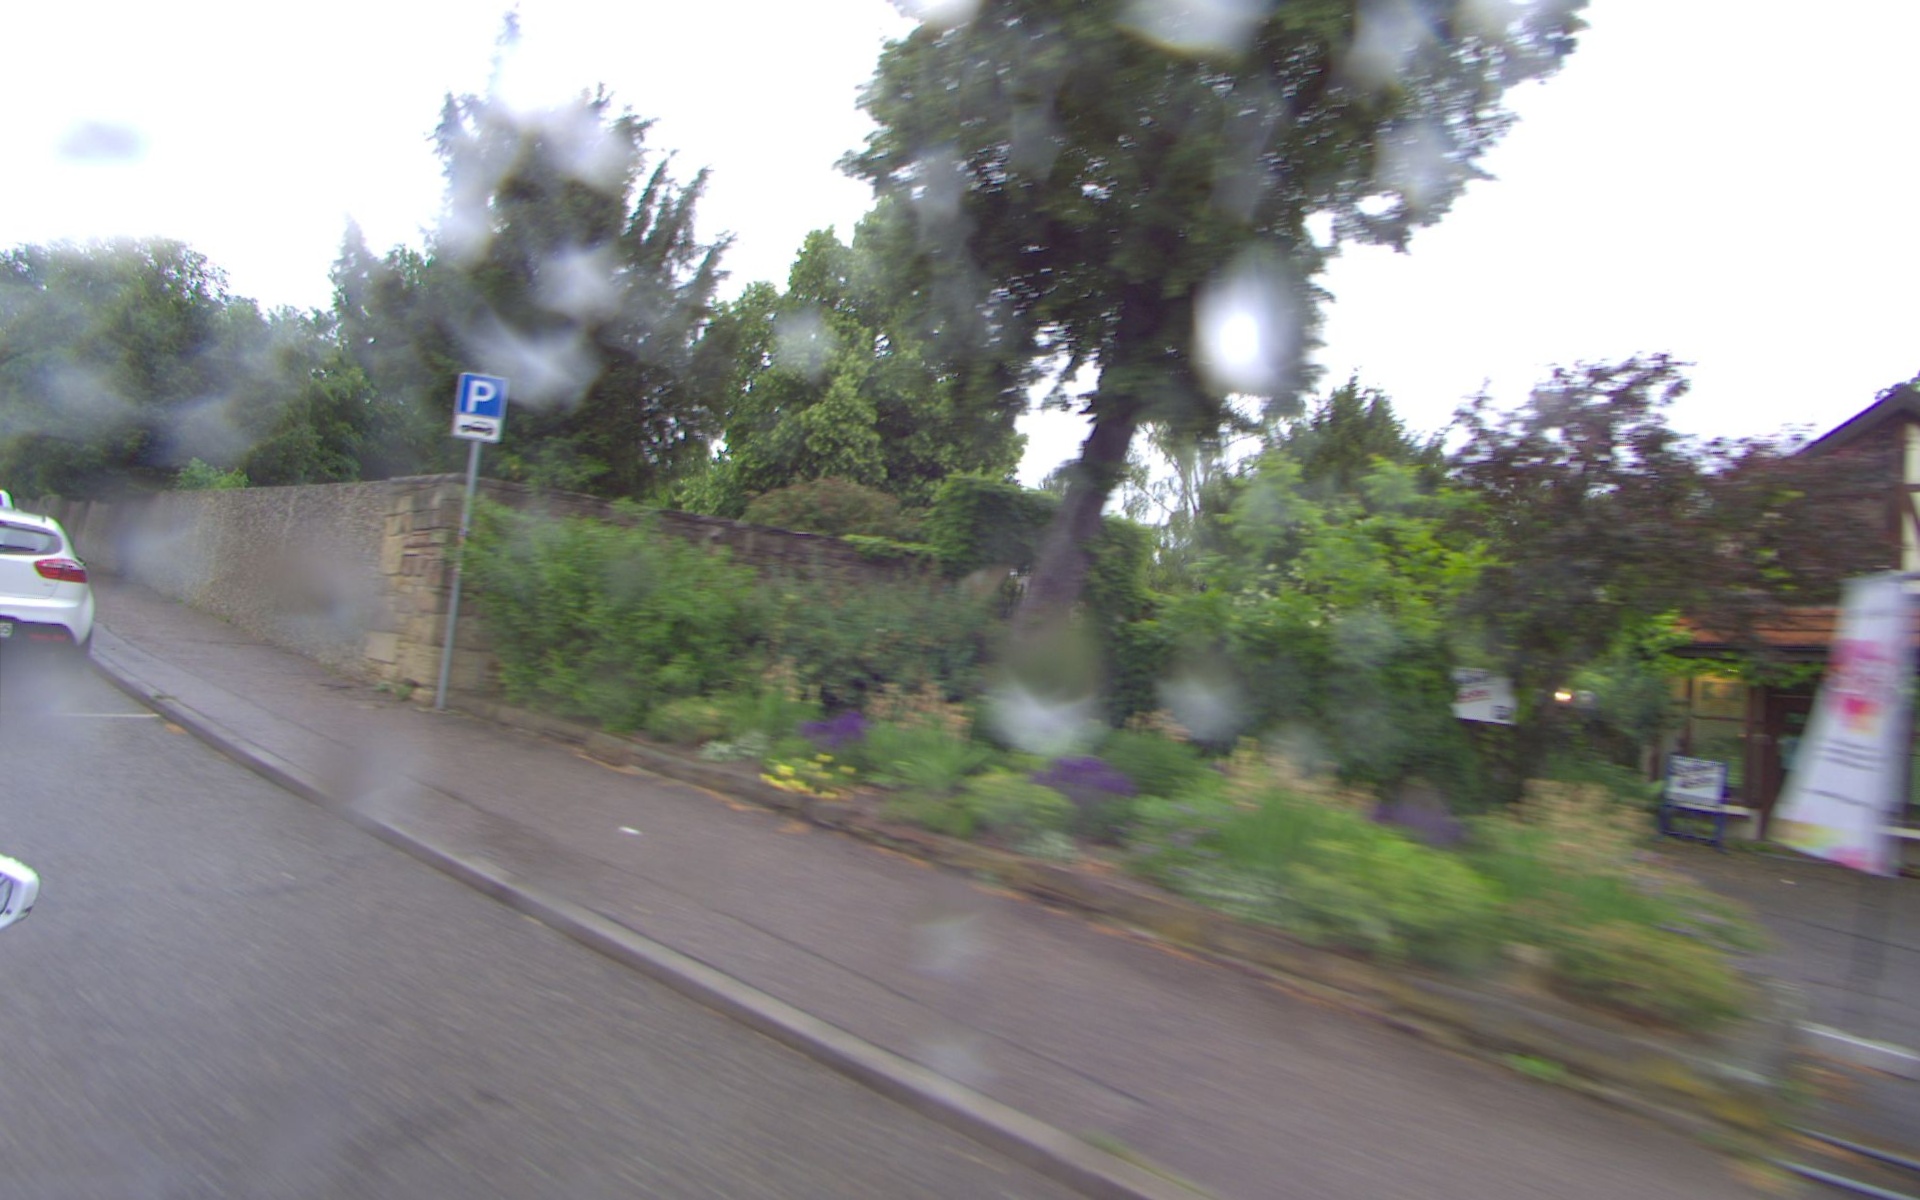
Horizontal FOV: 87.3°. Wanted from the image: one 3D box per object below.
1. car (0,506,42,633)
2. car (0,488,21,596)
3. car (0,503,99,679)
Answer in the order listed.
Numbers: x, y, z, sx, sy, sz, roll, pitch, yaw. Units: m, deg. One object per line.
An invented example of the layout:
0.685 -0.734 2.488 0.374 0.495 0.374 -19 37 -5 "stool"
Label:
-13.535 -0.600 13.387 3.949 1.478 1.643 7 -3 45 "car"
-17.724 -1.157 17.600 1.634 1.761 4.084 9 -3 -45 "car"
-10.001 -0.254 10.003 3.984 1.497 1.610 5 -3 43 "car"
